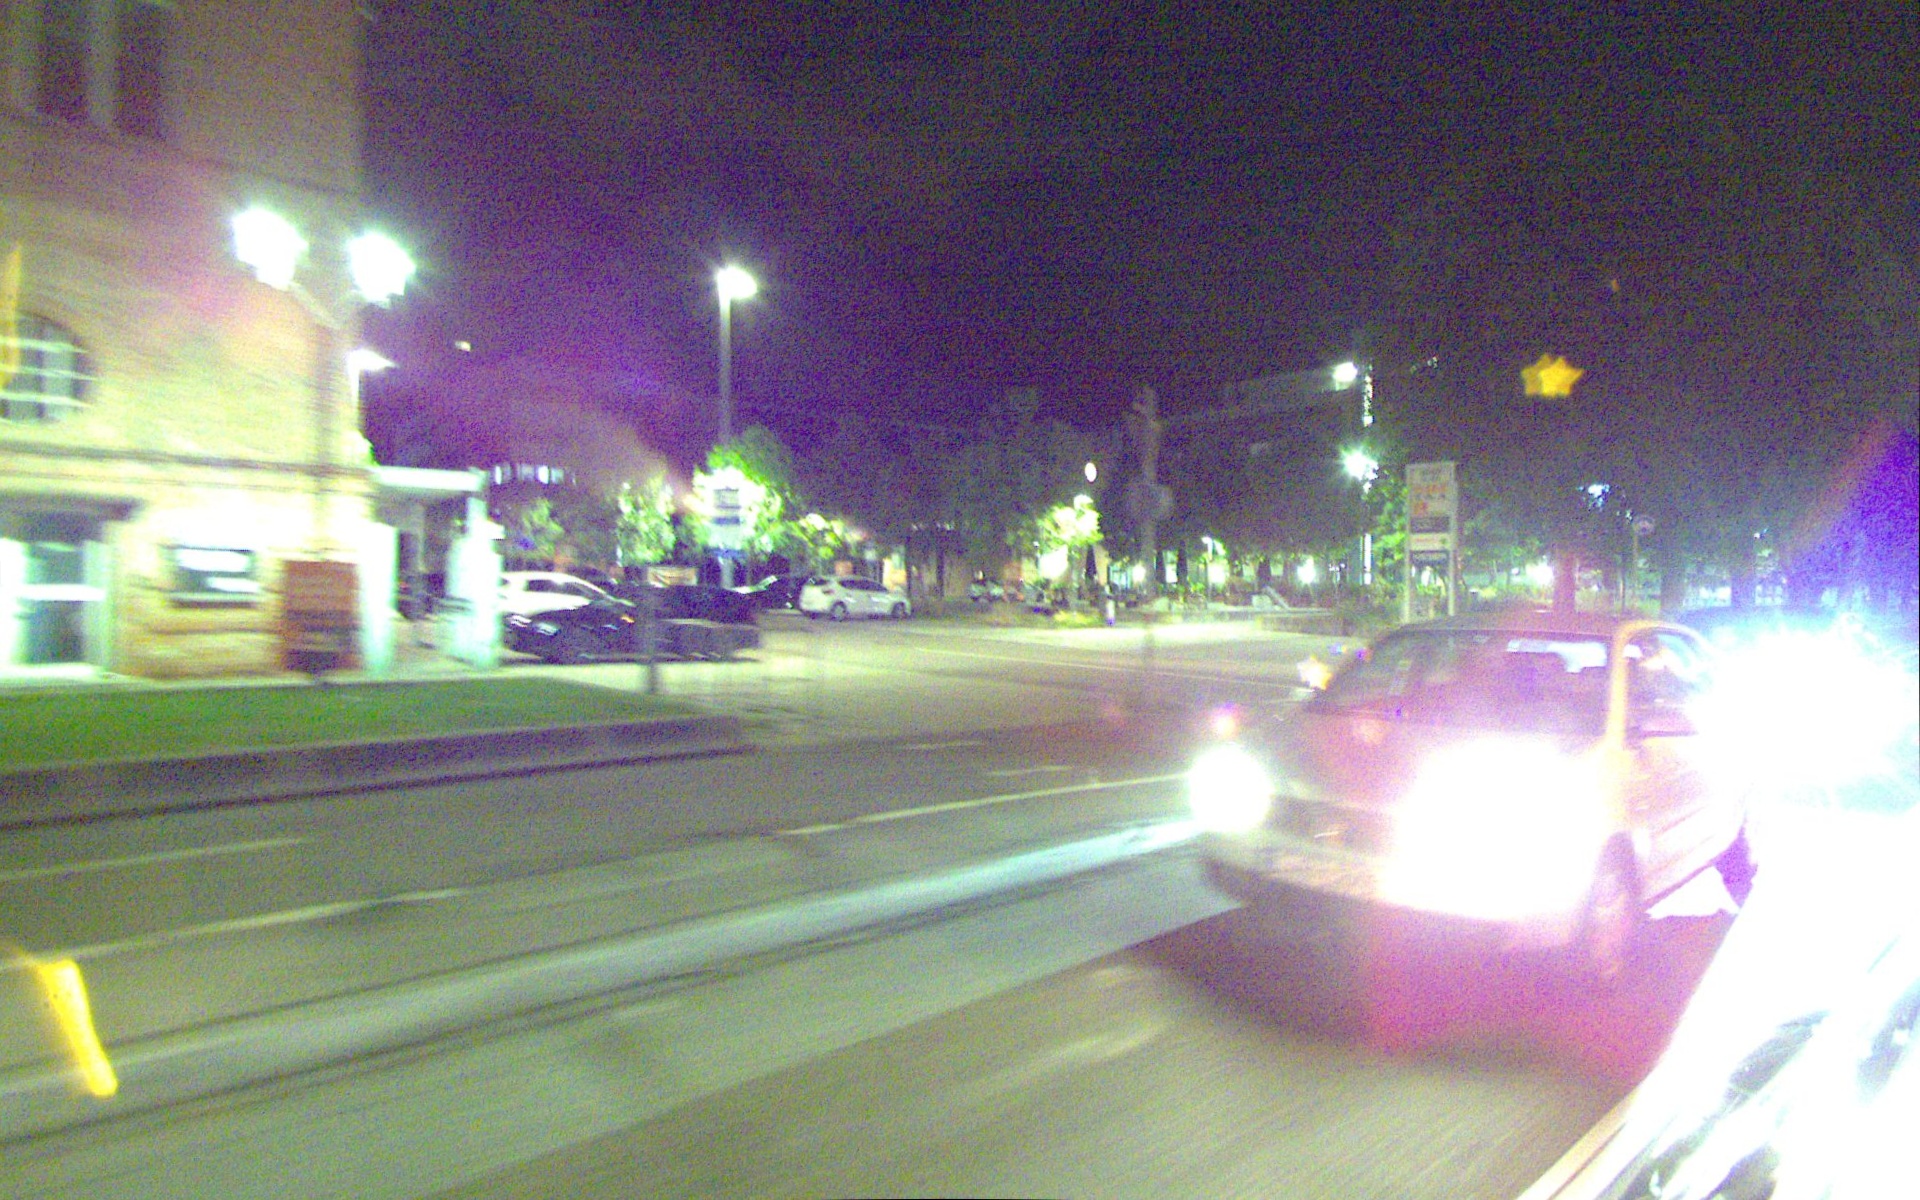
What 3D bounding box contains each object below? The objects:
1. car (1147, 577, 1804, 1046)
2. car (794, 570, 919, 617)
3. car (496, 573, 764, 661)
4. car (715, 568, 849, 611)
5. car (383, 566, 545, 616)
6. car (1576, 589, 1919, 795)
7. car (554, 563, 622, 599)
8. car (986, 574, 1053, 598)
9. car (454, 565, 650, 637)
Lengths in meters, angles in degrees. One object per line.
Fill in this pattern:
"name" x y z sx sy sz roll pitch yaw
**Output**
"car" 2.855 0.686 5.194 3.930 1.513 1.640 0 -1 -41
"car" -3.568 -0.240 35.162 4.026 1.552 1.772 0 2 -40
"car" -5.939 0.297 18.543 4.401 1.412 1.516 1 1 -39
"car" -6.746 -0.413 38.742 4.808 1.531 1.892 0 2 -42
"car" -15.371 -0.288 31.466 4.167 1.446 1.997 0 1 -41
"car" 7.760 0.676 9.653 4.645 1.513 1.808 0 -1 -40
"car" -19.449 -1.010 52.838 2.042 1.787 4.549 0 1 -38
"car" 3.987 -0.913 67.060 4.226 1.527 1.997 0 2 -41
"car" -9.560 -0.001 23.842 3.929 1.552 1.786 0 1 -40
